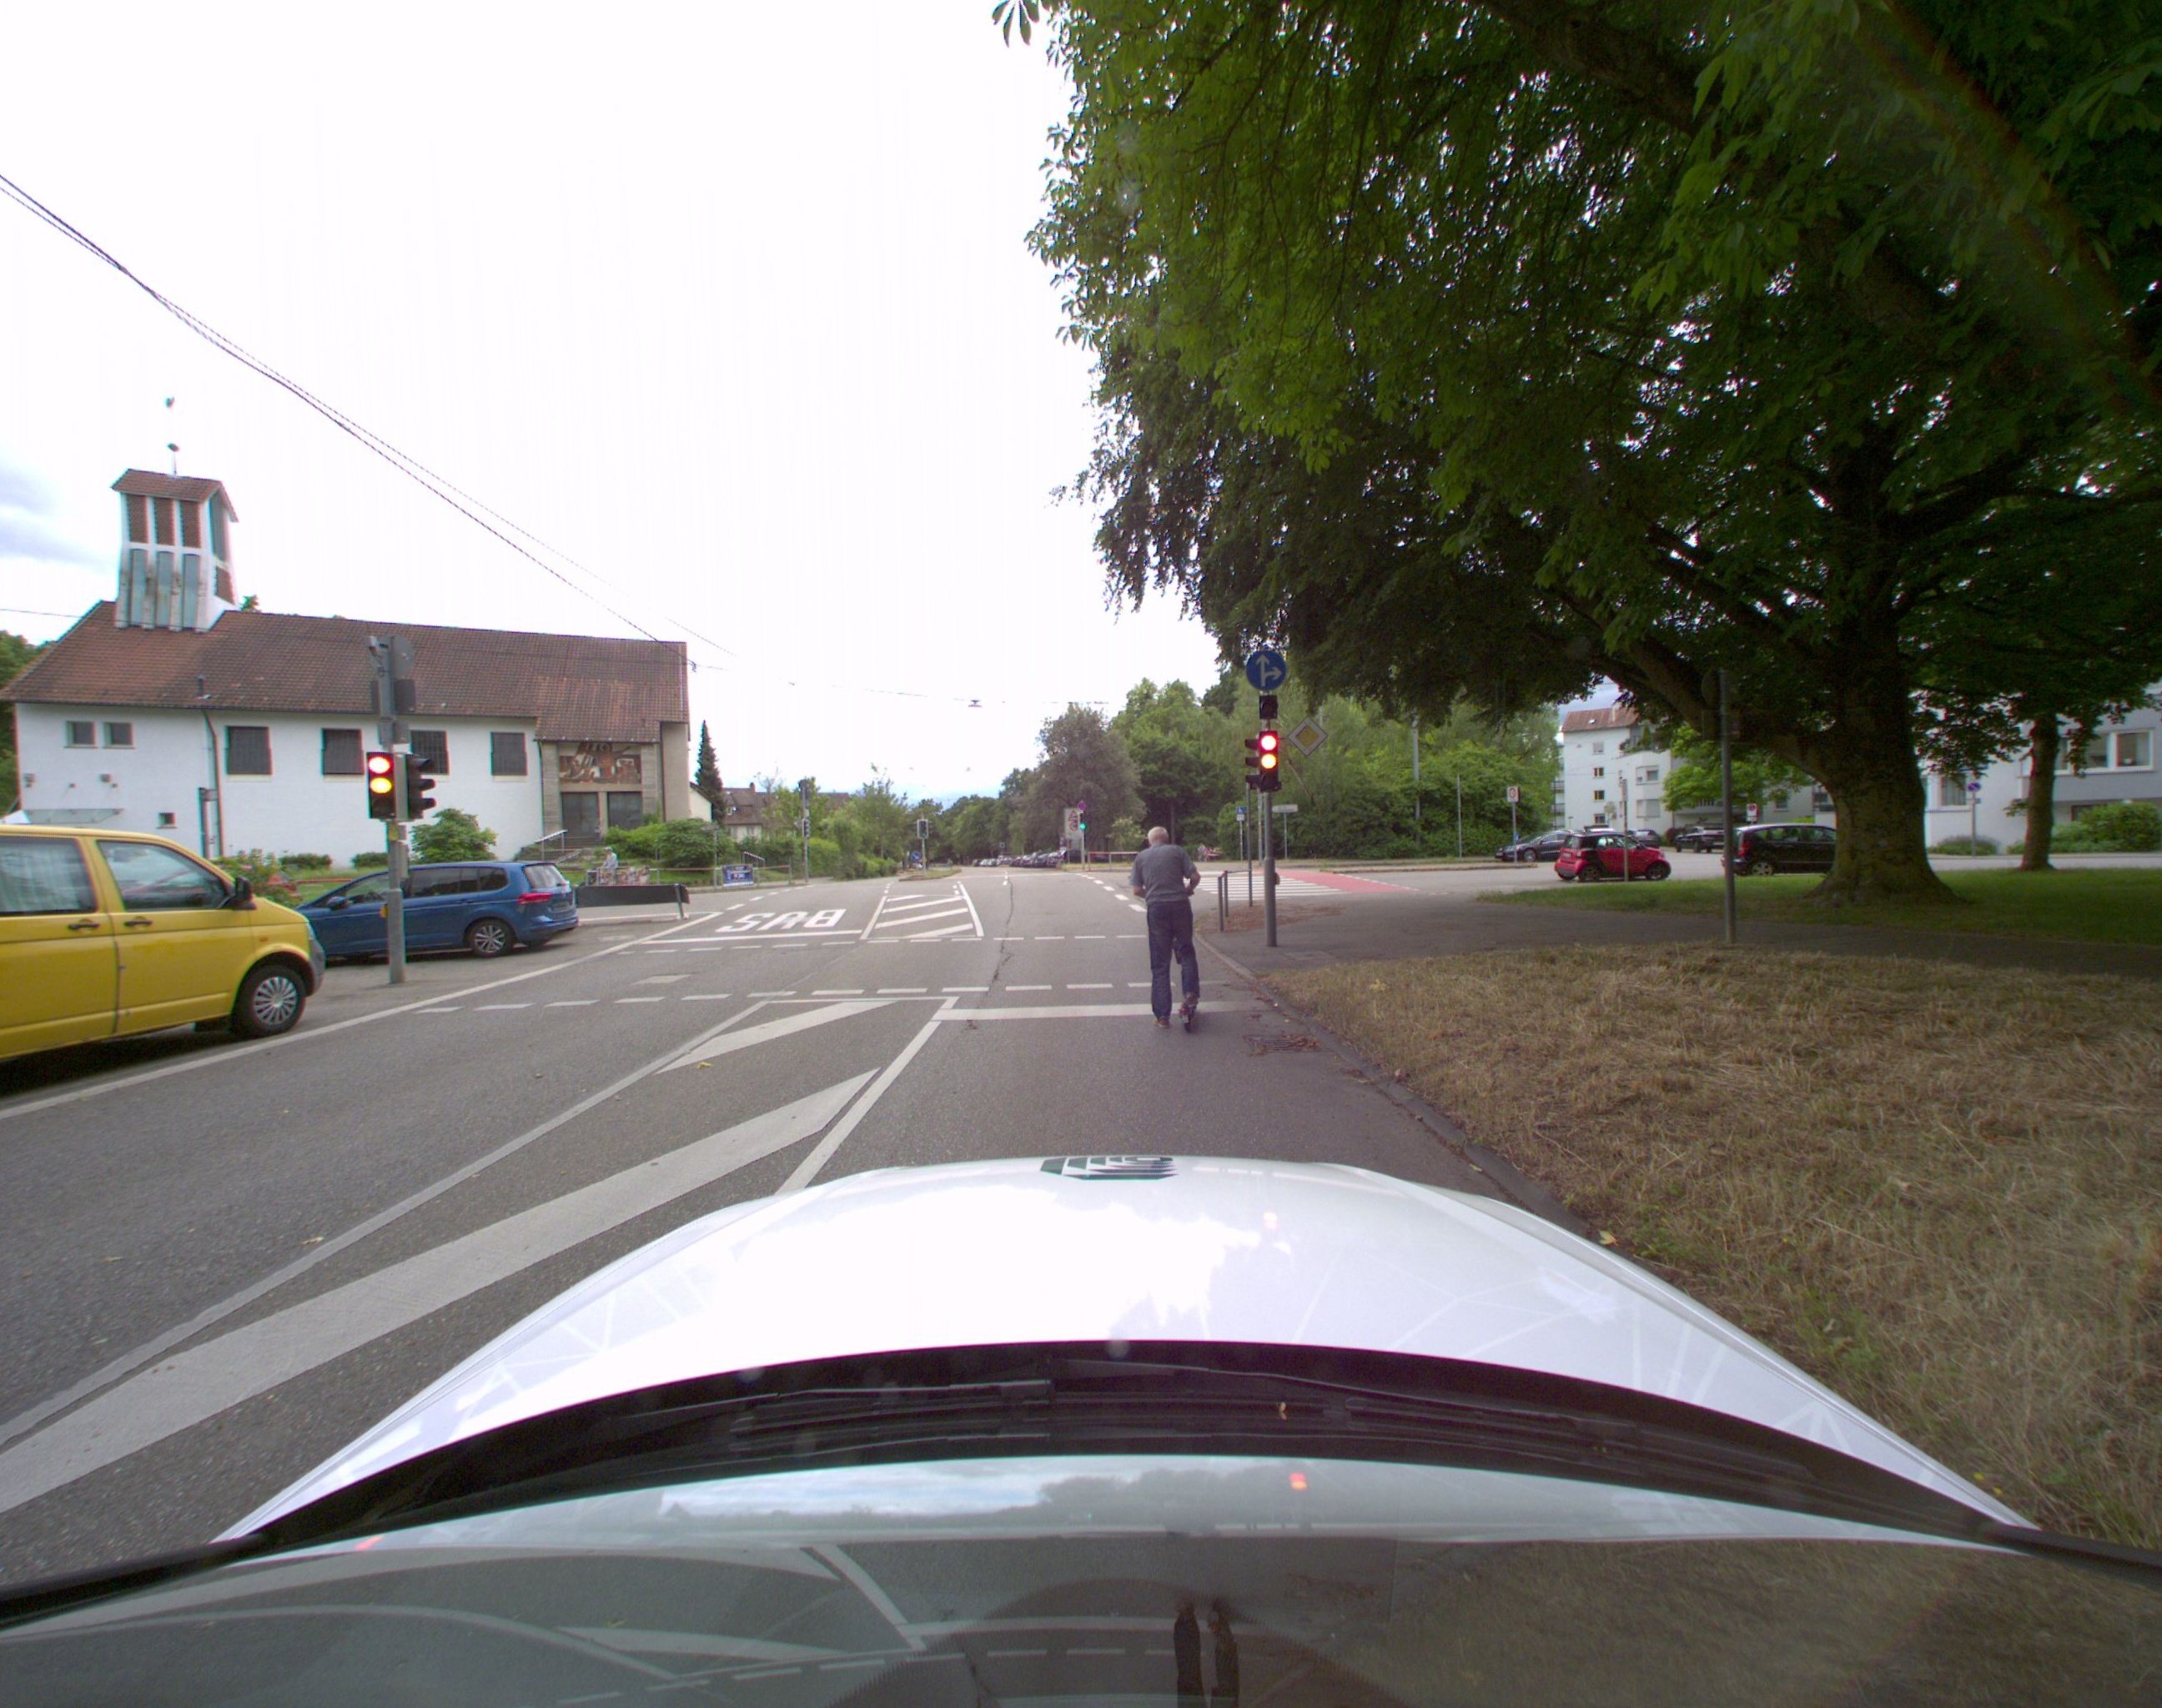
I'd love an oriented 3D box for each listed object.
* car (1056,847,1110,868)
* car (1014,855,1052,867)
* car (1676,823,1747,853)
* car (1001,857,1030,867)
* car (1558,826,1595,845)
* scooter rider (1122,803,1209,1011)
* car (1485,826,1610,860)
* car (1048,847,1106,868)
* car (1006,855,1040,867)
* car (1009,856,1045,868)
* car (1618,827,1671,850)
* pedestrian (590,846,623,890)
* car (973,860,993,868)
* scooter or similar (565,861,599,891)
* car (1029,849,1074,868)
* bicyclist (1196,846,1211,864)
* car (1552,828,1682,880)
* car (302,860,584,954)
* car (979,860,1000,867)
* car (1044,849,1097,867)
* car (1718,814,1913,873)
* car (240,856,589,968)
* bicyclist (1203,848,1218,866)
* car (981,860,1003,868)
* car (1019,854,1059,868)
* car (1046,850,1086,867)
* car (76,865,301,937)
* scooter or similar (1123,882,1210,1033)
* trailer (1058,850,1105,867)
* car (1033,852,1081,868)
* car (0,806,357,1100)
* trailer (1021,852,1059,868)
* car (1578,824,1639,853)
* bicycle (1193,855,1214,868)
[{"bbox_3d":[0.157,0.242,59.666,3.718,1.476,1.570,-1,0,-12],"label":"car"},{"bbox_3d":[-5.822,0.852,99.157,4.364,1.445,1.621,-1,0,-24],"label":"car"},{"bbox_3d":[35.901,-0.887,46.490,1.913,1.544,4.083,-2,0,18],"label":"car"},{"bbox_3d":[-9.826,1.206,122.240,3.983,1.405,1.742,-1,-1,-24],"label":"car"},{"bbox_3d":[44.477,-1.630,73.215,1.913,1.544,4.083,-2,0,18],"label":"car"},{"bbox_3d":[0.777,0.432,7.394,0.678,1.730,1.199,-1,1,7],"label":"scooter rider"},{"bbox_3d":[21.878,-0.529,38.305,4.777,1.438,2.036,-2,1,-5],"label":"car"},{"bbox_3d":[-0.278,0.262,62.223,4.149,1.476,1.565,-1,-1,-20],"label":"car"},{"bbox_3d":[-7.615,0.926,107.129,4.099,1.515,1.716,-2,-1,-32],"label":"car"},{"bbox_3d":[-6.945,0.993,104.482,4.331,1.341,1.720,-1,-1,-23],"label":"car"},{"bbox_3d":[39.113,-1.054,56.591,1.913,1.544,4.083,-2,0,18],"label":"car"},{"bbox_3d":[-17.899,0.522,30.742,0.680,1.653,0.836,-1,-1,29],"label":"pedestrian"},{"bbox_3d":[-21.315,2.167,177.063,3.908,1.429,1.727,-1,-1,-29],"label":"car"},{"bbox_3d":[-18.348,0.791,29.949,0.604,1.095,0.895,-1,-1,29],"label":"scooter or similar"},{"bbox_3d":[-2.891,0.409,79.264,3.998,1.725,1.670,-2,-1,-19],"label":"car"},{"bbox_3d":[8.223,0.062,54.728,0.633,1.161,0.809,1,5,39],"label":"bicyclist"},{"bbox_3d":[16.302,-0.018,24.894,2.897,1.506,1.699,-1,2,6],"label":"car"},{"bbox_3d":[-12.315,0.953,16.045,3.903,1.472,1.835,-2,1,-18],"label":"car"},{"bbox_3d":[-18.834,1.919,167.386,3.908,1.429,1.727,-1,-1,-29],"label":"car"},{"bbox_3d":[-0.910,0.358,69.947,4.231,1.464,1.625,-2,-1,-18],"label":"car"},{"bbox_3d":[20.879,-0.272,23.361,3.778,1.591,1.829,-1,0,26],"label":"car"},{"bbox_3d":[-11.139,0.903,13.974,4.169,1.546,1.838,-2,1,-13],"label":"car"},{"bbox_3d":[8.947,0.200,56.148,0.513,1.187,0.973,-4,-2,41],"label":"bicyclist"},{"bbox_3d":[-17.419,1.920,159.107,3.913,1.309,1.725,-1,-1,-34],"label":"car"},{"bbox_3d":[-4.609,0.763,89.199,4.048,1.327,1.549,-2,-1,-19],"label":"car"},{"bbox_3d":[-1.391,0.422,74.747,3.337,1.464,1.624,-1,-1,-19],"label":"car"},{"bbox_3d":[-22.628,1.111,20.845,1.753,1.489,3.707,-1,2,44],"label":"car"},{"bbox_3d":[0.782,0.876,7.370,0.678,1.139,1.463,-1,1,7],"label":"scooter or similar"},{"bbox_3d":[0.038,0.374,65.159,3.412,1.267,1.606,-2,-1,-19],"label":"trailer"},{"bbox_3d":[-2.262,0.544,76.490,4.174,1.407,1.686,-1,-1,-21],"label":"car"},{"bbox_3d":[-8.324,0.703,5.992,1.913,1.989,4.791,-2,0,-5],"label":"car"},{"bbox_3d":[-4.346,0.634,86.692,3.702,1.535,1.634,-1,-1,-21],"label":"trailer"},{"bbox_3d":[28.633,-0.815,44.313,1.788,1.487,3.686,-2,0,16],"label":"car"},{"bbox_3d":[8.221,0.486,54.751,0.633,0.758,1.692,1,5,39],"label":"bicycle"}]
